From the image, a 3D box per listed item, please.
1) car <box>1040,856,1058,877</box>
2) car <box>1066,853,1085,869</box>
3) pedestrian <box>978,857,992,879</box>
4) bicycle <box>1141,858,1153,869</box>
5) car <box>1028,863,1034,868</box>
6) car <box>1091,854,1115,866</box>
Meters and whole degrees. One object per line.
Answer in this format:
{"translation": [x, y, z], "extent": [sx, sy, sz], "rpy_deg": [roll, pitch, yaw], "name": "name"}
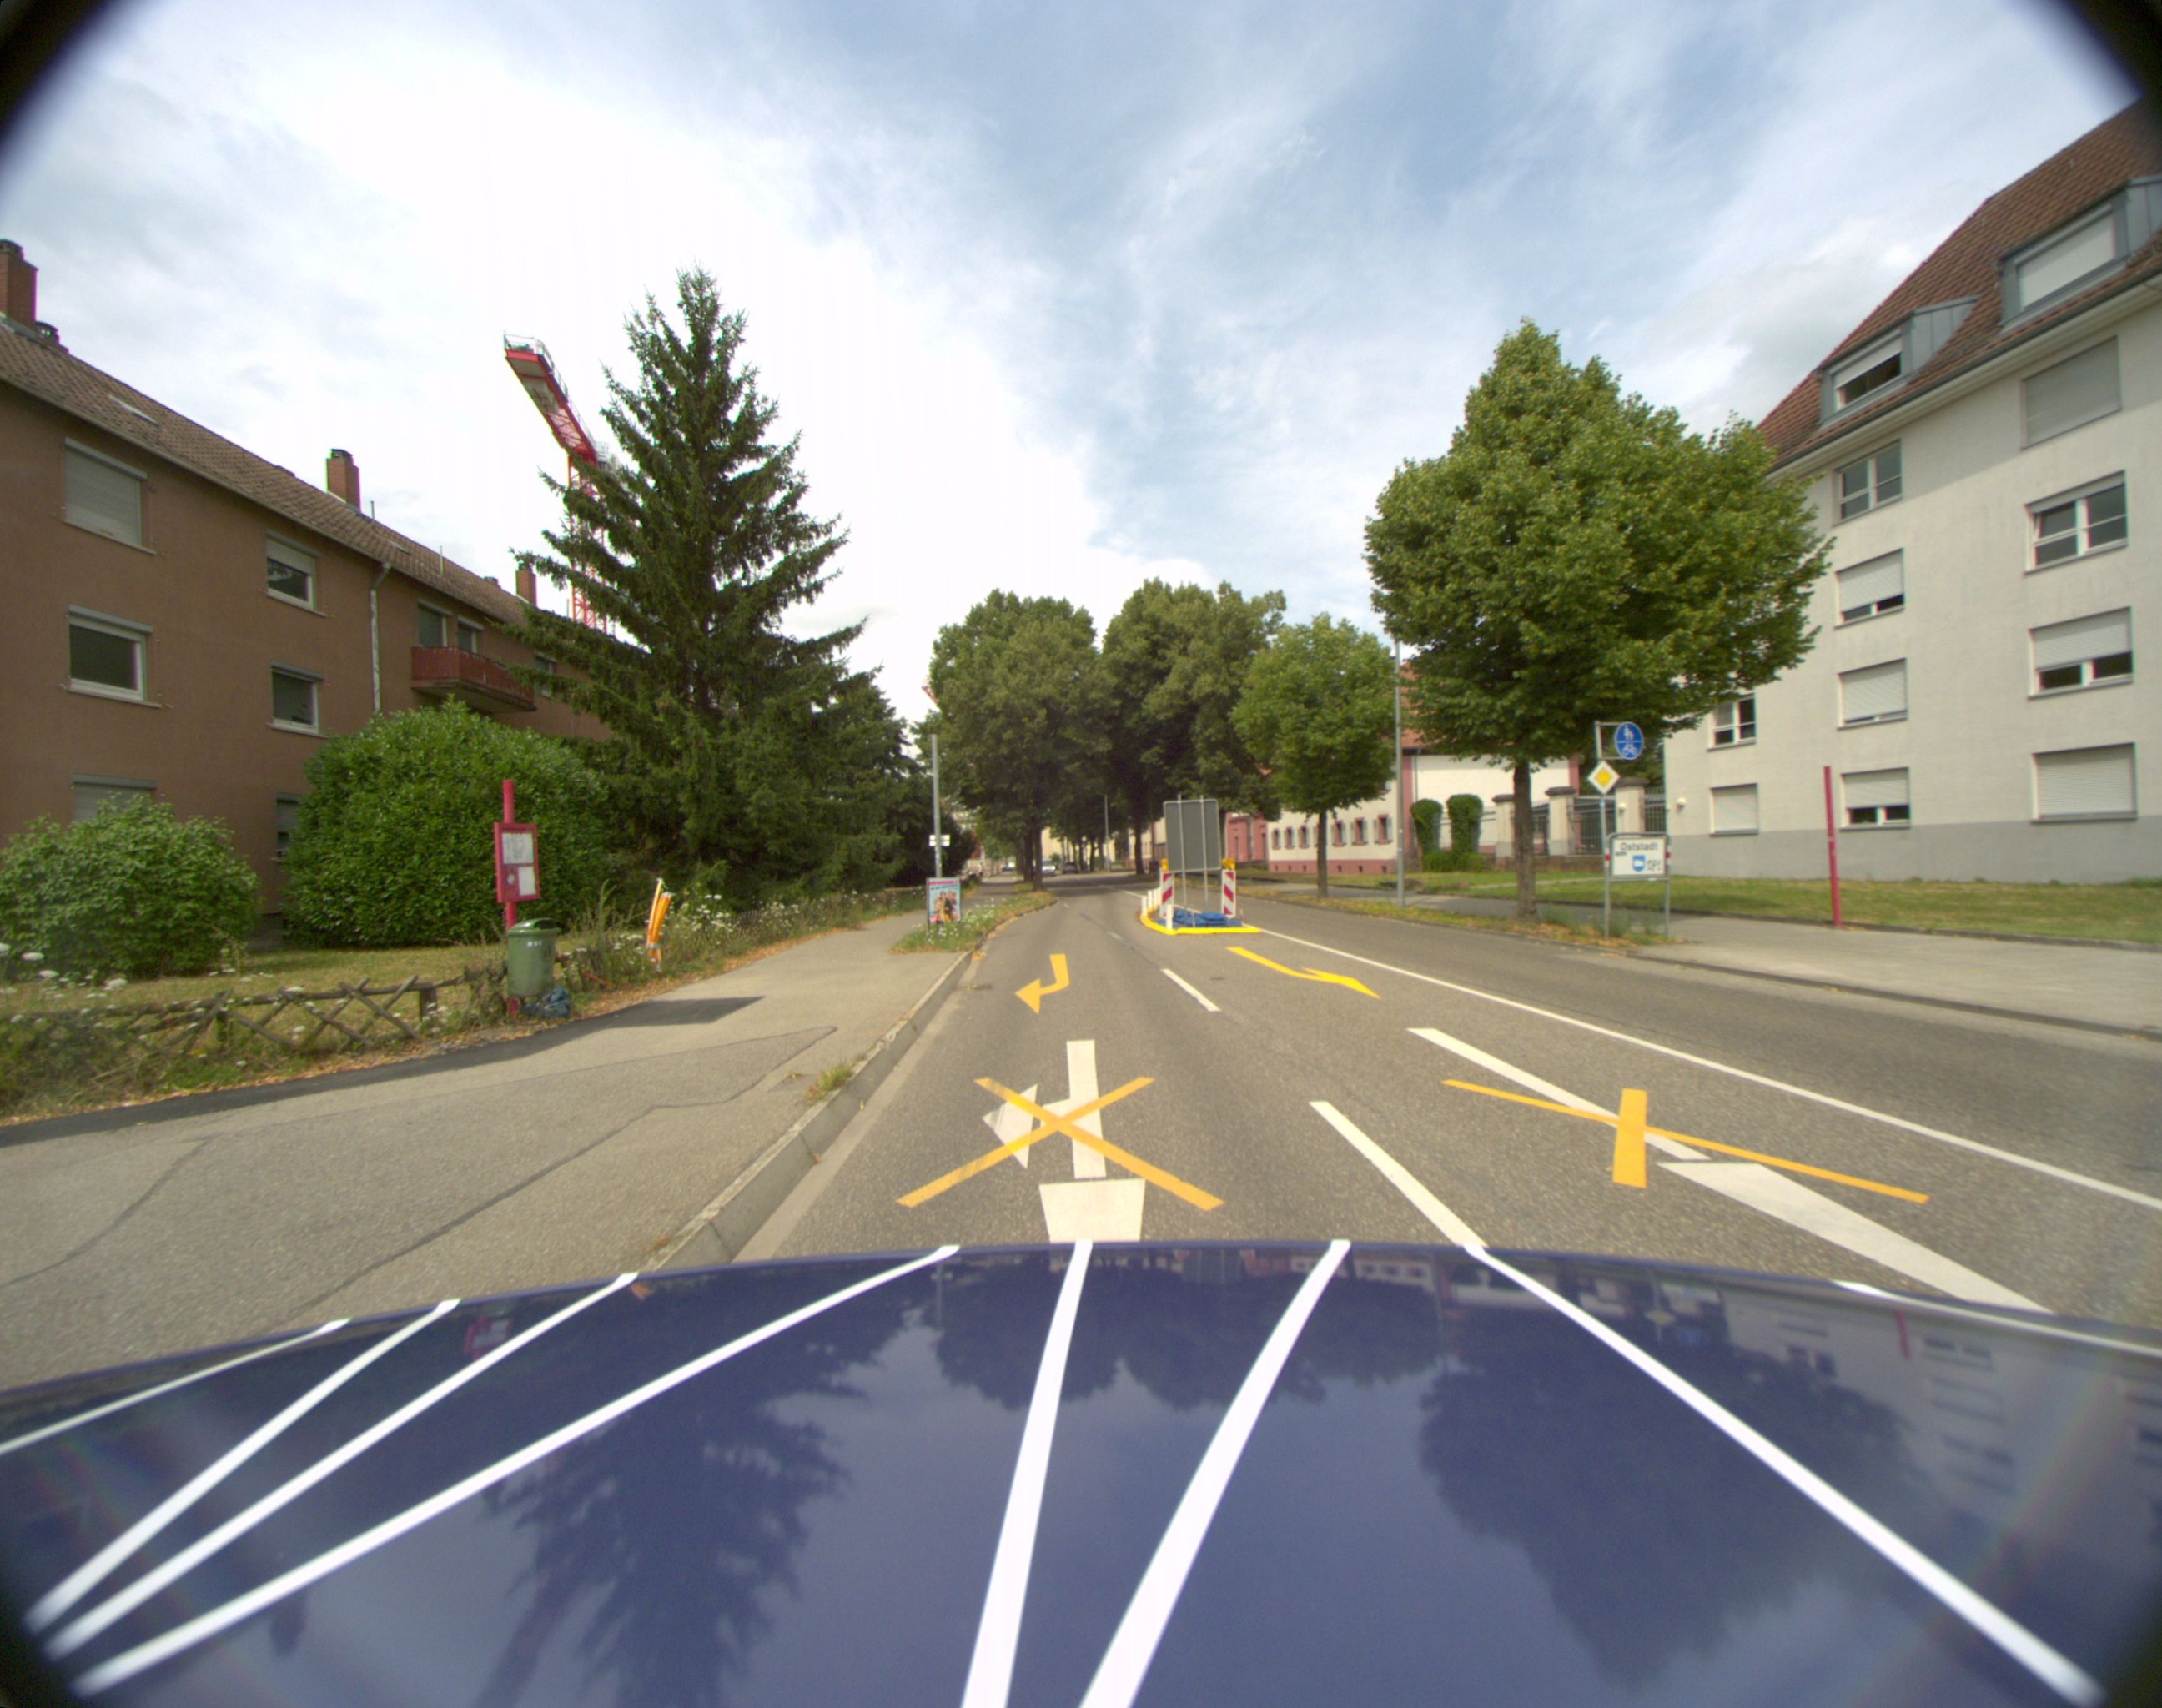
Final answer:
{"translation": [-3.063, 1.187, 72.596], "extent": [1.677, 1.710, 4.388], "rpy_deg": [-1, -4, -3], "name": "car"}
{"translation": [-0.650, 0.804, 85.631], "extent": [2.010, 1.432, 4.388], "rpy_deg": [-1, -5, -3], "name": "car"}
{"translation": [-7.998, 1.180, 63.039], "extent": [0.883, 1.803, 0.889], "rpy_deg": [0, 0, 14], "name": "pedestrian"}
{"translation": [6.662, 0.983, 77.196], "extent": [0.725, 1.088, 2.224], "rpy_deg": [-6, -1, -6], "name": "bicycle"}
{"translation": [-16.729, 3.759, 254.652], "extent": [1.854, 1.622, 4.215], "rpy_deg": [0, -1, -8], "name": "car"}
{"translation": [5.341, 1.402, 185.630], "extent": [5.326, 2.537, 2.354], "rpy_deg": [-4, 0, -4], "name": "car"}
